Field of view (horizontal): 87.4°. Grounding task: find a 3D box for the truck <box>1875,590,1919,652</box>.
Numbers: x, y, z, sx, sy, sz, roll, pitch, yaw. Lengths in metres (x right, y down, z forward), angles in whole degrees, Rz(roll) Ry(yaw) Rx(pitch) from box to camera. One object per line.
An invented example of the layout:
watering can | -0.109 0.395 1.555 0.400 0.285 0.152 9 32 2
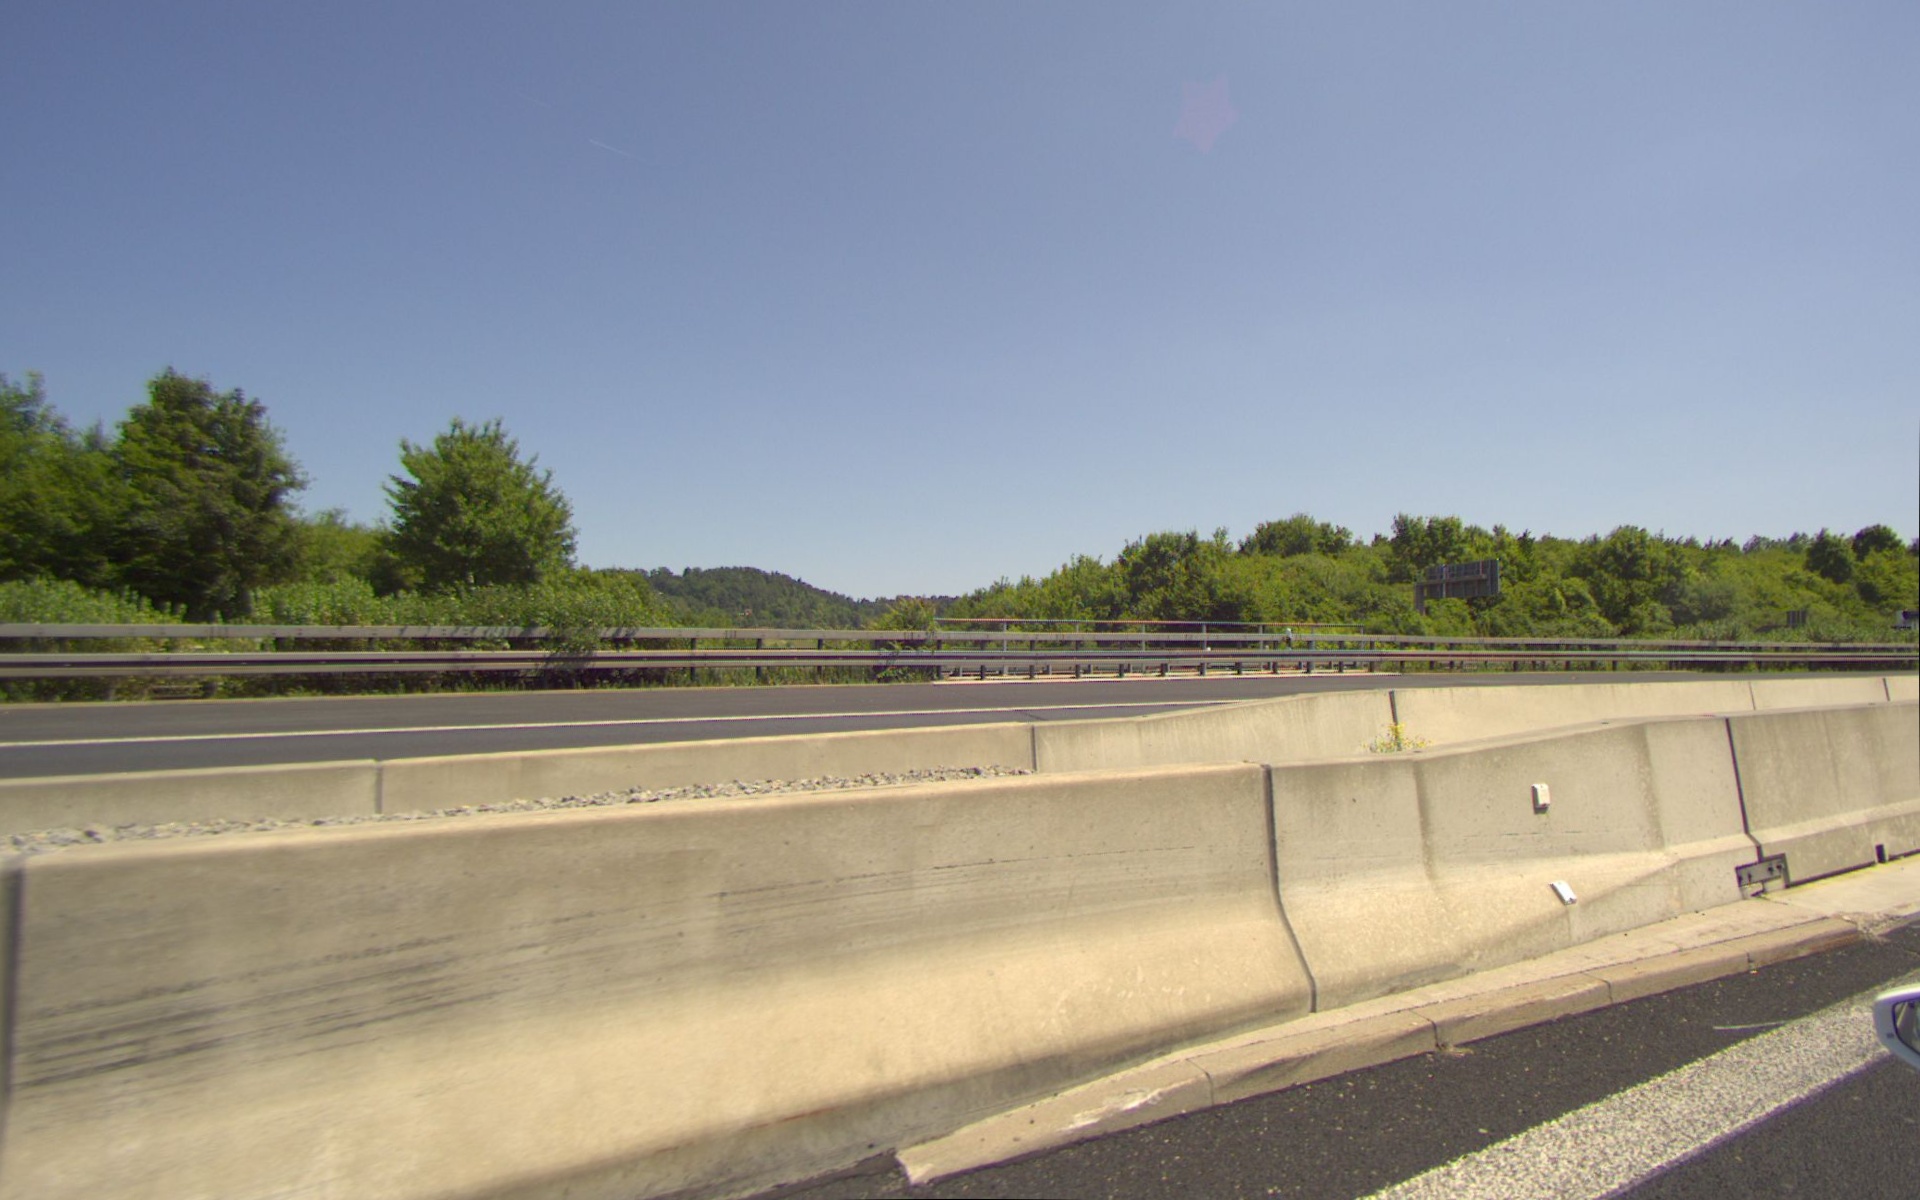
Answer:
truck | 66.507 1.560 68.230 10.635 4.012 2.688 2 -1 -26
